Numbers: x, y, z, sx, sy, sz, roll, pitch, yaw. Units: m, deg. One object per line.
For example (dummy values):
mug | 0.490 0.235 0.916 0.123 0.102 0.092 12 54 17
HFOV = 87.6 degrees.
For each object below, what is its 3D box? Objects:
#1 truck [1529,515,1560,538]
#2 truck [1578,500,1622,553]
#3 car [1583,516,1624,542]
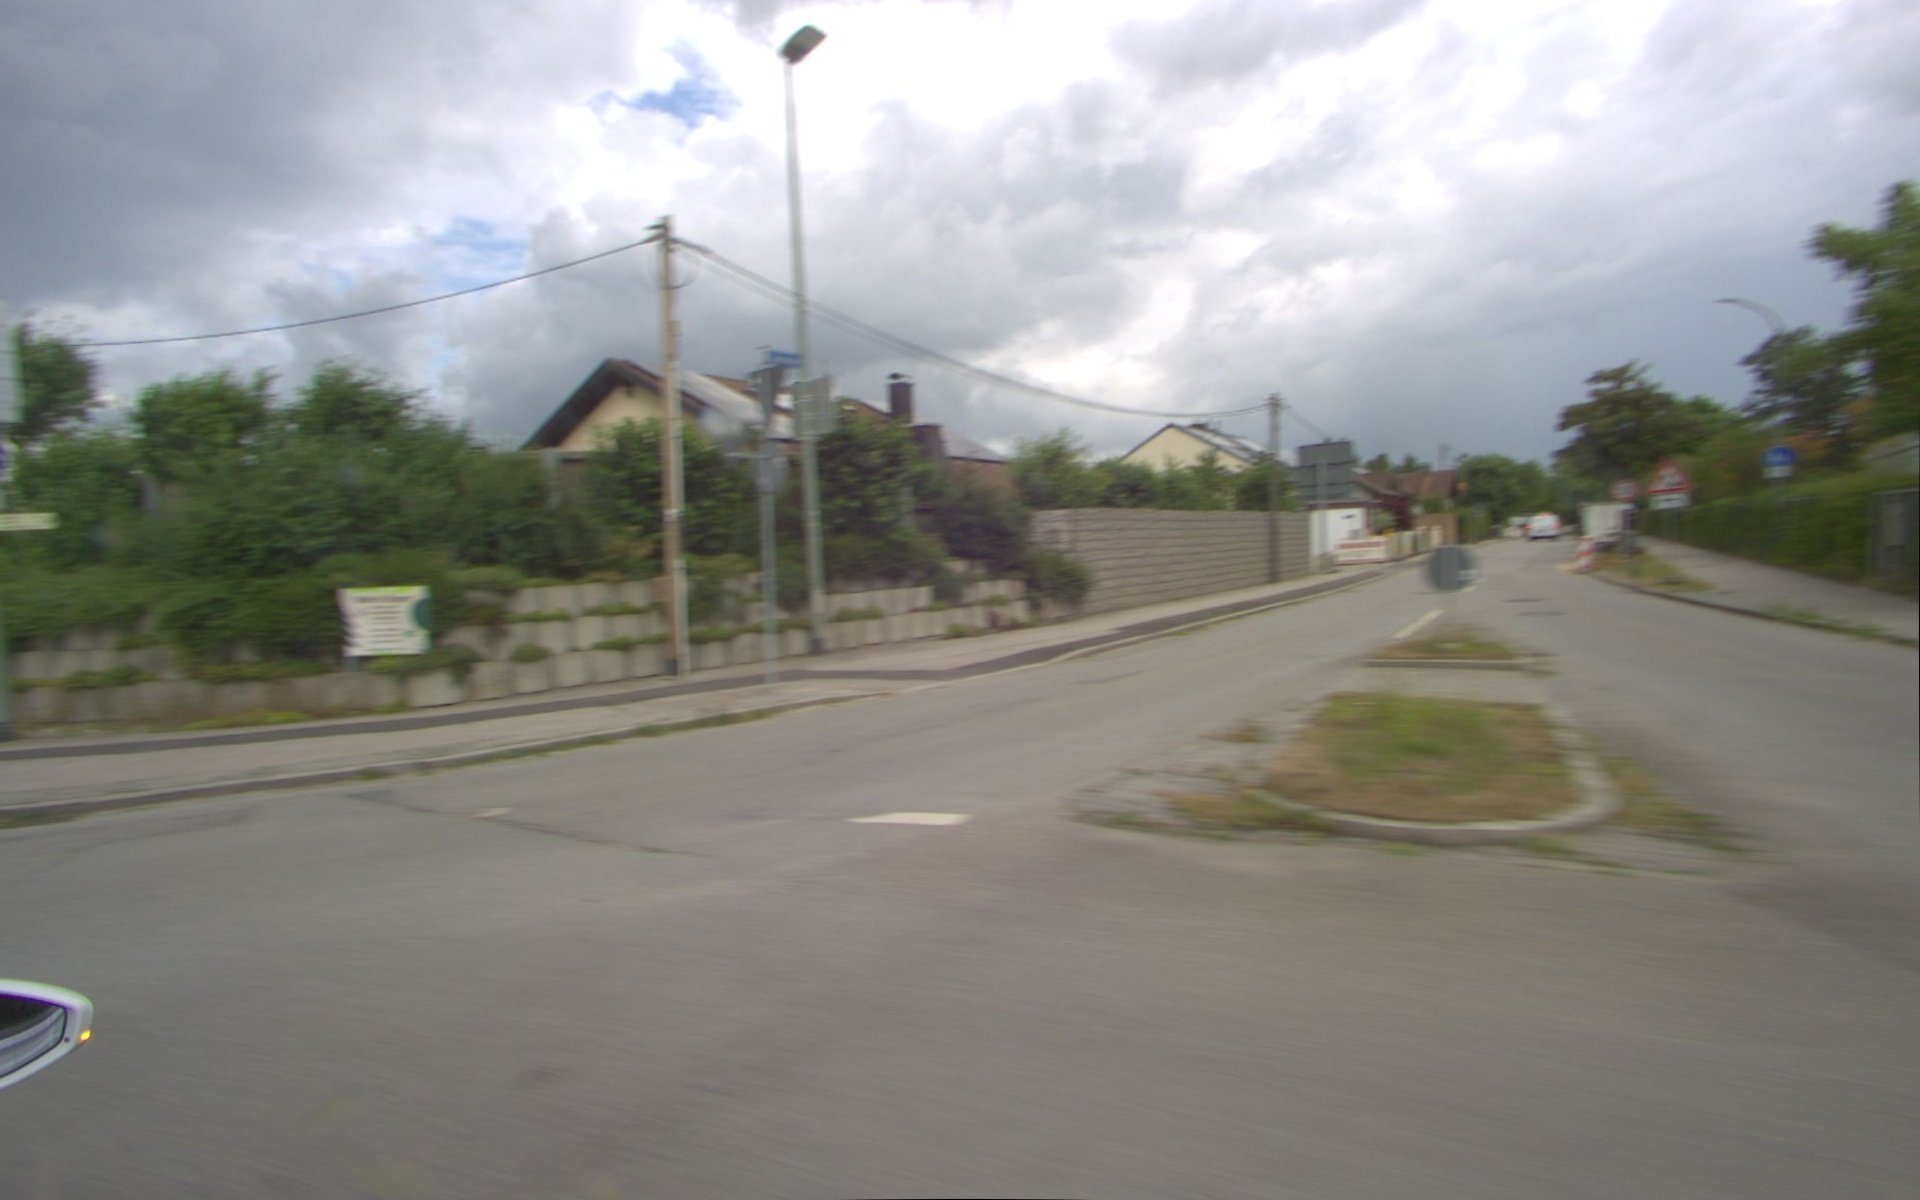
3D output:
truck | 44.934 -5.621 76.965 1.741 1.665 4.370 0 4 34
truck | 32.162 -3.696 50.260 1.742 2.504 4.370 0 4 34
car | 39.383 -4.363 61.375 1.971 1.506 3.976 0 4 31
